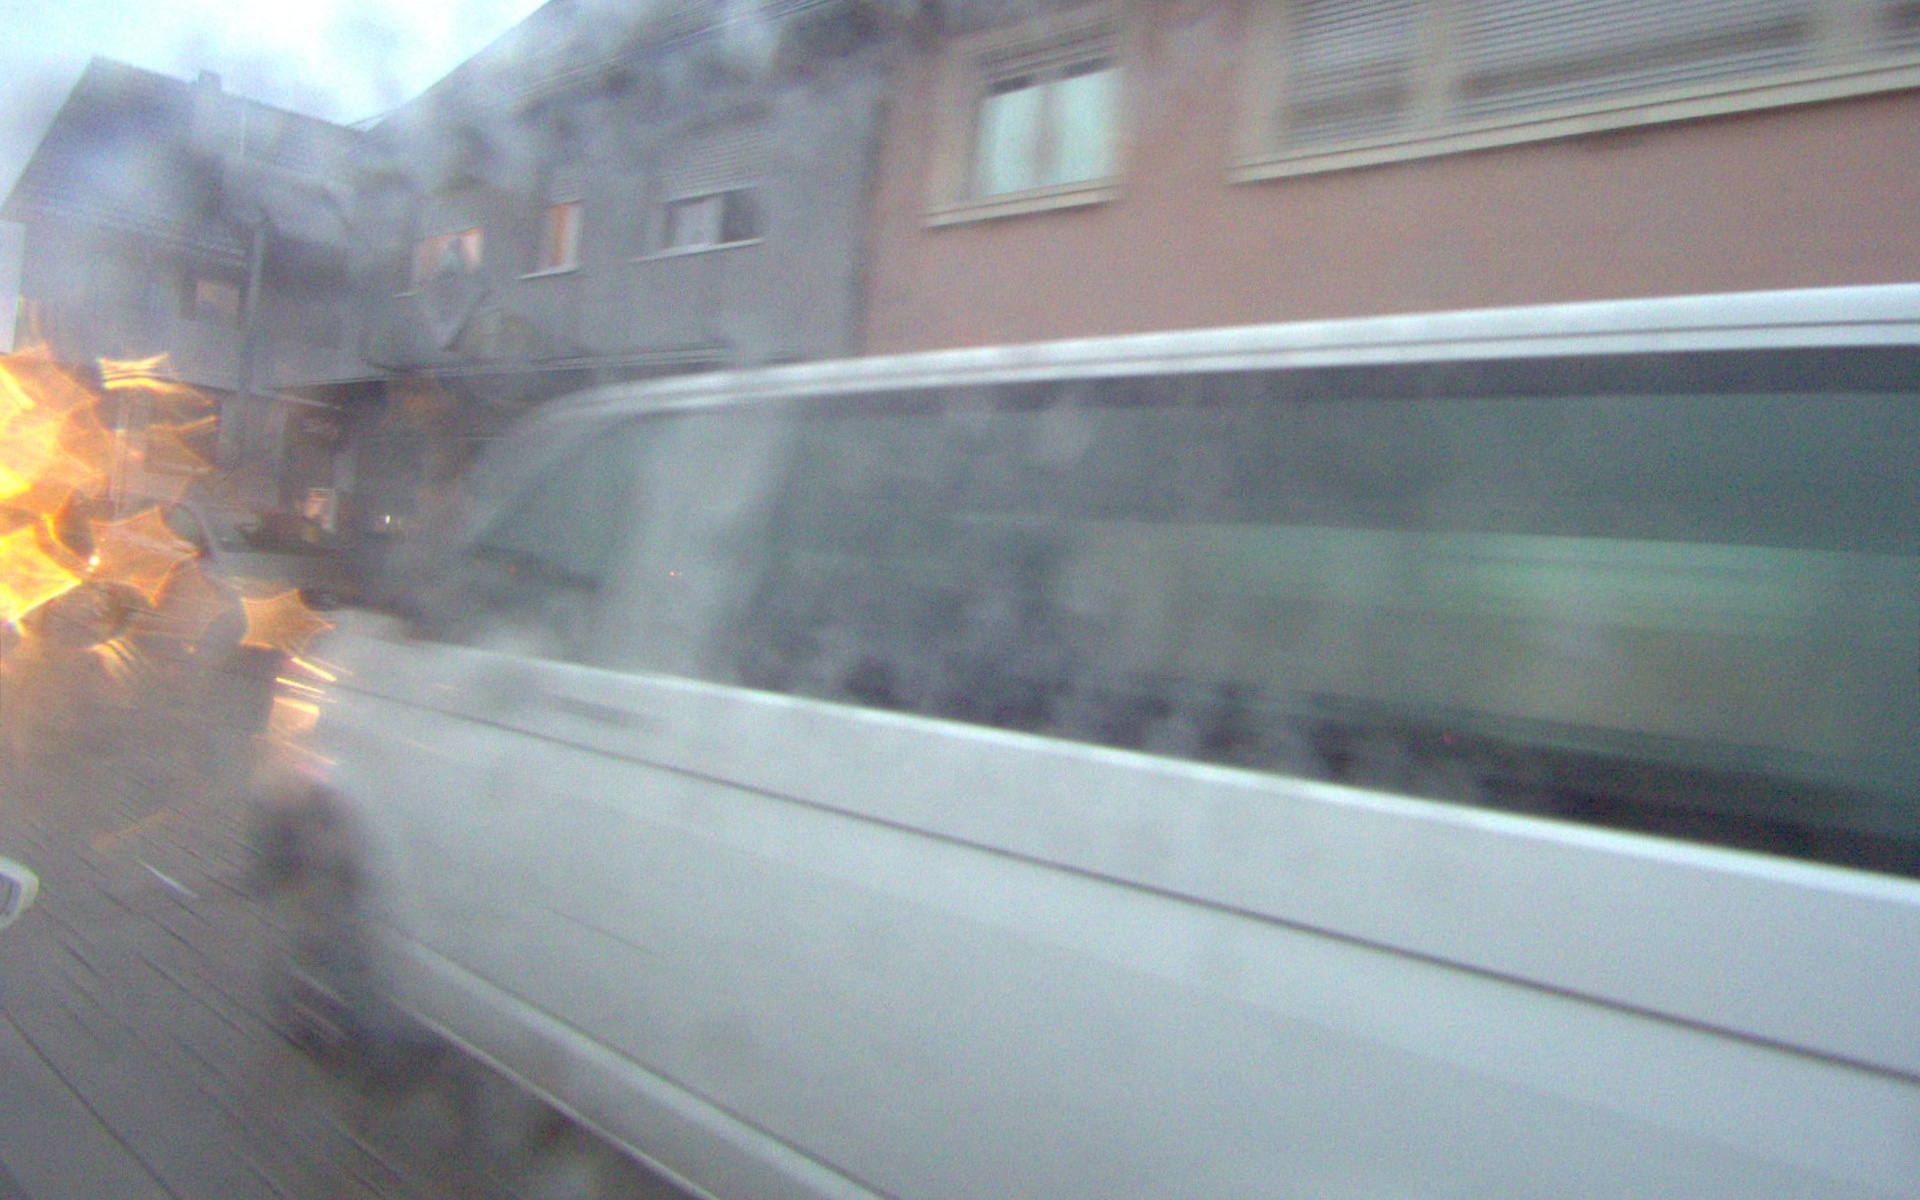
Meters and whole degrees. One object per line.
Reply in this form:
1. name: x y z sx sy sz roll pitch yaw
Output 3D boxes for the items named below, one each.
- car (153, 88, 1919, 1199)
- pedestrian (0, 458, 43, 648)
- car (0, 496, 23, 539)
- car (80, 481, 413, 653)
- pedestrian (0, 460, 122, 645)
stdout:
1. car: 0.085 0.438 2.587 4.774 1.985 1.973 7 1 34
2. pedestrian: -9.083 -0.467 9.212 0.791 1.721 0.713 7 2 30
3. car: -34.321 -2.968 35.207 1.640 1.460 3.829 6 0 -36
4. car: -8.436 -0.400 11.858 3.600 1.581 1.736 7 1 29
5. pedestrian: -8.741 -0.455 9.773 0.778 1.691 0.580 7 2 29
